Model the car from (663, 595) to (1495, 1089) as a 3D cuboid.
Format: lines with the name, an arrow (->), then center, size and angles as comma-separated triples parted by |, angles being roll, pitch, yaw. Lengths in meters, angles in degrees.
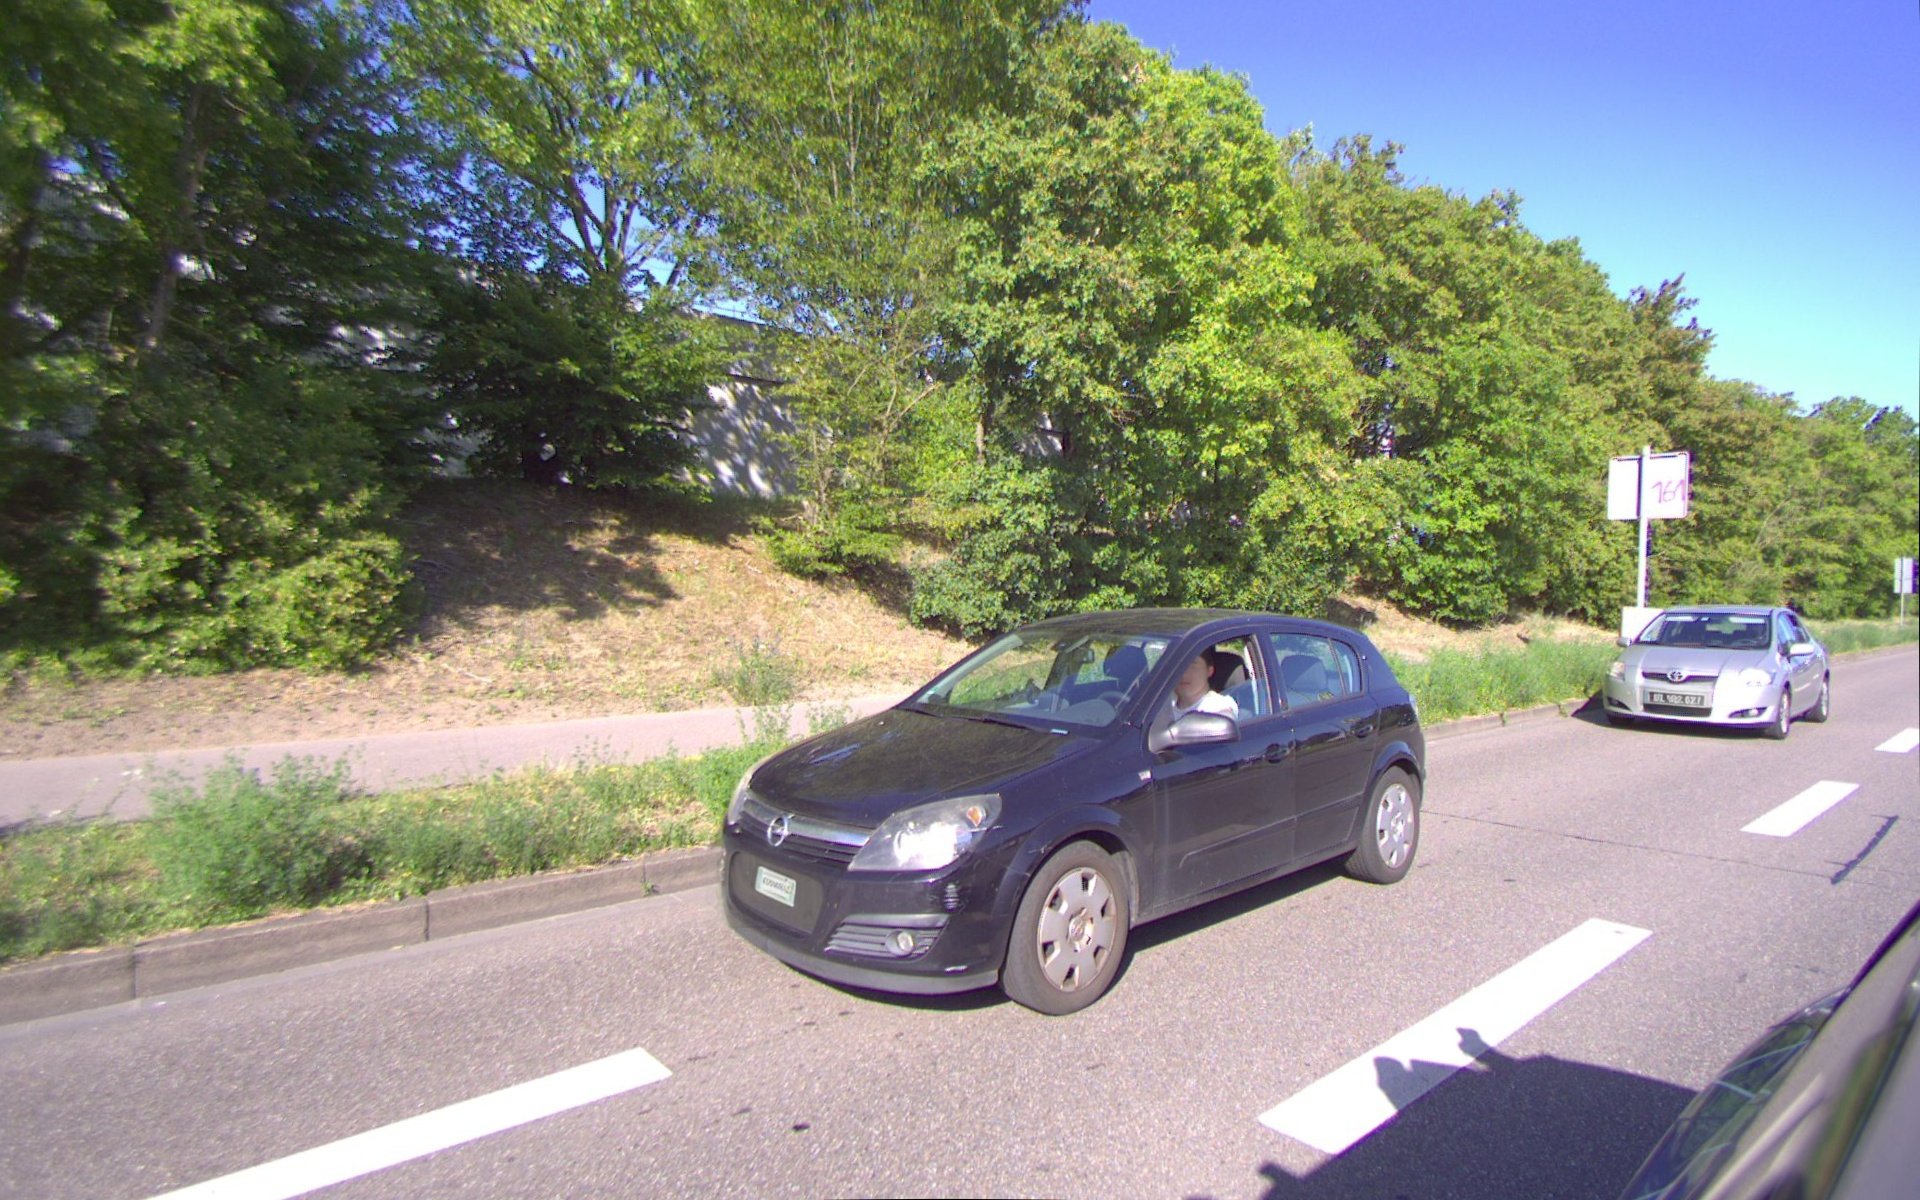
car -> 0.906, 0.712, 5.094 | 4.295, 1.460, 1.737 | 0, 0, -41

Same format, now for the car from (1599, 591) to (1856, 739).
car -> 9.706, 0.687, 12.691 | 4.036, 1.556, 1.786 | 0, 0, -41
